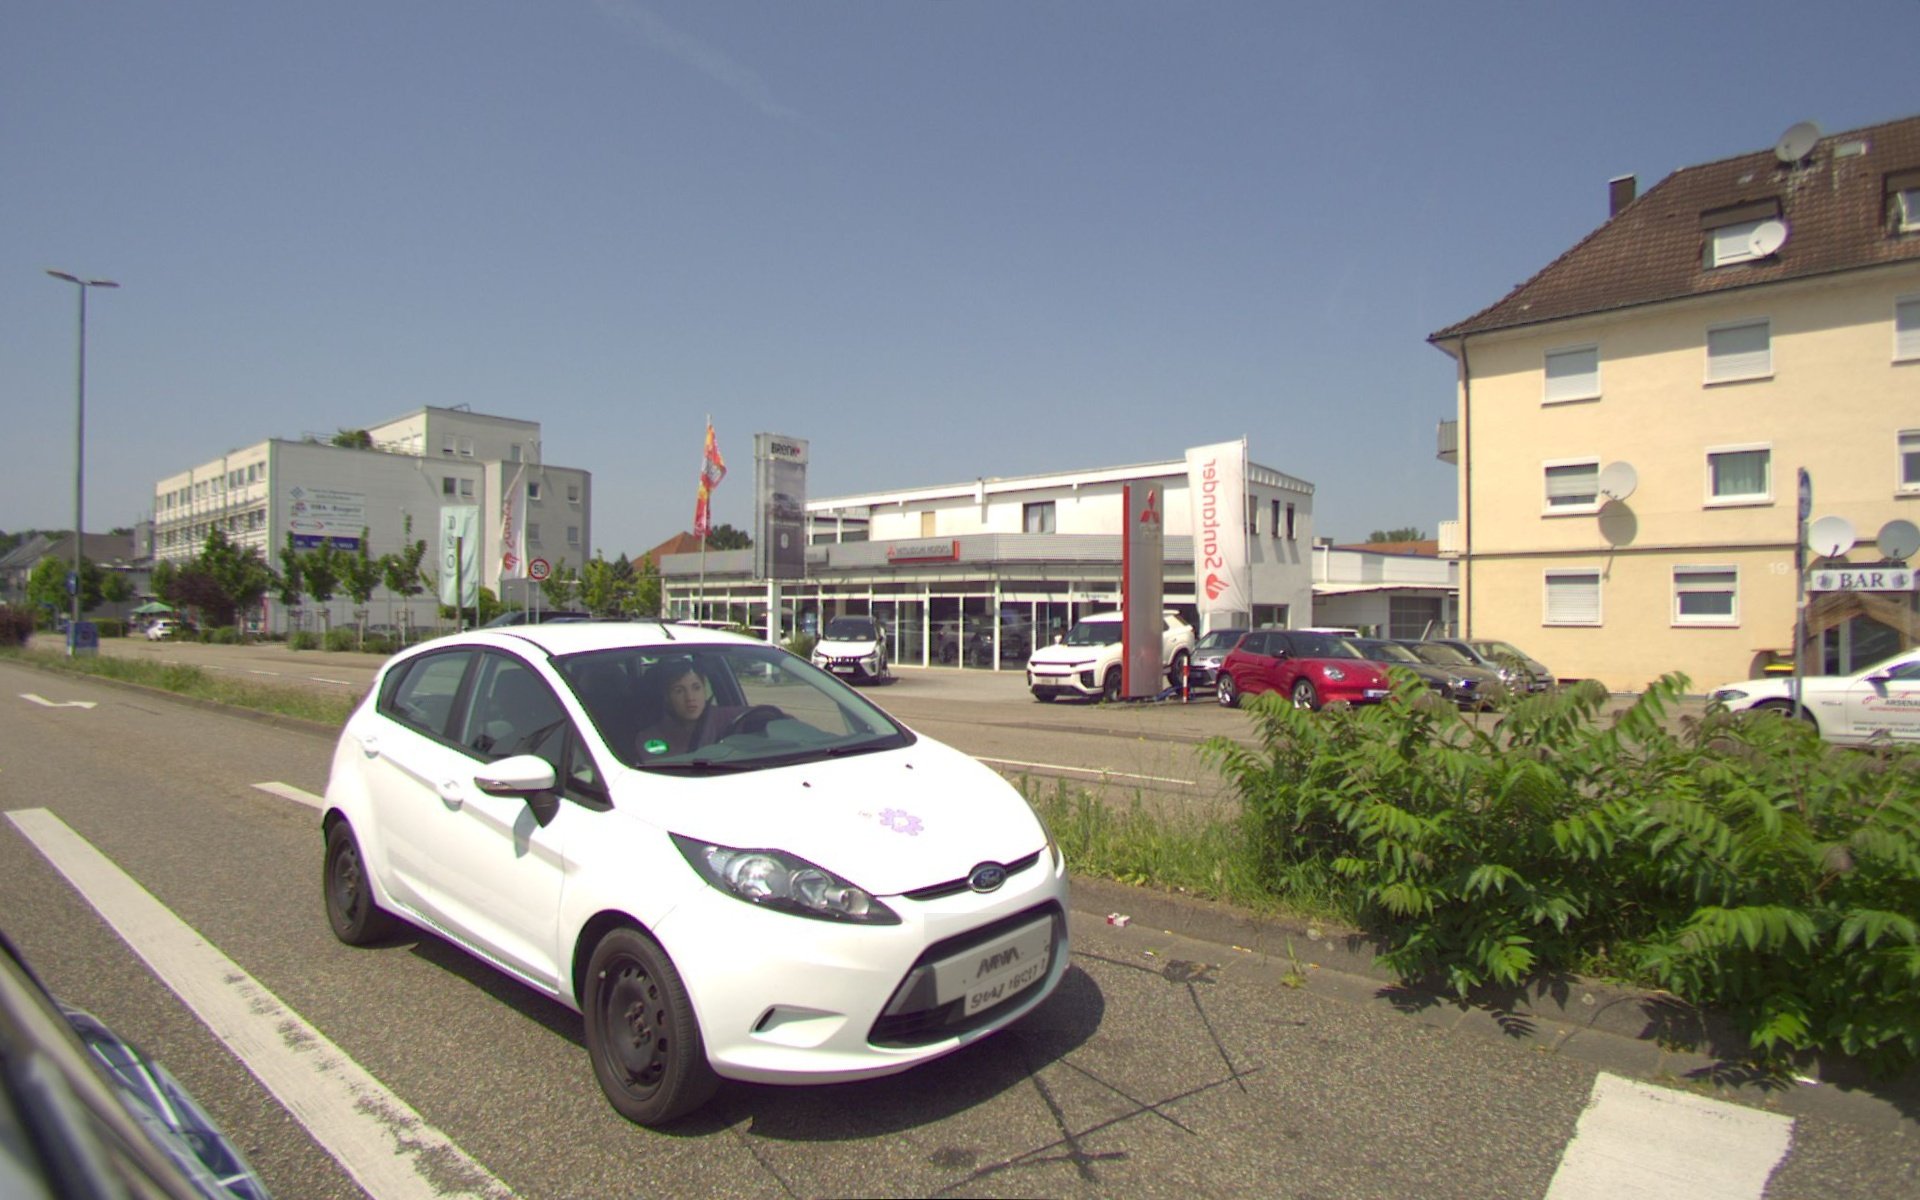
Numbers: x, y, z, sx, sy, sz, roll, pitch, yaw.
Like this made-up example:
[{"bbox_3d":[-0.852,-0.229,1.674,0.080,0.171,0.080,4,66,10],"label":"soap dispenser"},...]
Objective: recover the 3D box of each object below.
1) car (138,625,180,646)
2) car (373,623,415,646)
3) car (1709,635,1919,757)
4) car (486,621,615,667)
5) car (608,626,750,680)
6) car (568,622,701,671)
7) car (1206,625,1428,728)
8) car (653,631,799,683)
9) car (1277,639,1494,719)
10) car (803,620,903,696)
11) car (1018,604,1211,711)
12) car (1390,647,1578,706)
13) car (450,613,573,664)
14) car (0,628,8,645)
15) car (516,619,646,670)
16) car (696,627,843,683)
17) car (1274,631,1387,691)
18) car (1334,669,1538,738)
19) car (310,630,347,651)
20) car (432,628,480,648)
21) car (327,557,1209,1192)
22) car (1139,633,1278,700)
[{"bbox_3d":[-57.407,2.542,72.557,3.662,1.460,1.674,-1,-1,40],"label":"car"},{"bbox_3d":[-38.597,2.326,69.007,3.556,1.530,1.536,-1,-2,44],"label":"car"},{"bbox_3d":[12.186,1.155,12.360,4.756,1.421,1.757,-1,-2,41],"label":"car"},{"bbox_3d":[-15.350,1.659,38.082,2.087,1.621,3.947,-1,-3,39],"label":"car"},{"bbox_3d":[-8.903,1.645,32.290,1.925,1.621,3.943,-1,-2,43],"label":"car"},{"bbox_3d":[-10.952,1.547,34.225,1.758,1.580,3.947,-1,-2,39],"label":"car"},{"bbox_3d":[6.386,1.304,18.661,1.809,1.655,4.189,1,-2,-14],"label":"car"},{"bbox_3d":[-6.907,1.643,30.164,1.858,1.405,3.947,-1,-2,39],"label":"car"},{"bbox_3d":[8.632,1.550,20.905,1.622,1.437,4.013,1,-2,-28],"label":"car"},{"bbox_3d":[-2.765,1.468,26.998,1.739,1.636,3.991,1,2,8],"label":"car"},{"bbox_3d":[3.386,1.106,21.482,1.760,1.722,4.497,-1,3,43],"label":"car"},{"bbox_3d":[12.804,1.834,25.014,1.622,1.261,4.013,1,-2,-23],"label":"car"},{"bbox_3d":[-17.651,1.500,39.933,1.998,1.896,3.947,-1,-2,39],"label":"car"},{"bbox_3d":[-85.566,3.188,89.215,4.708,1.472,1.809,-1,-2,40],"label":"car"},{"bbox_3d":[-13.451,1.609,36.109,1.758,1.621,3.947,-1,-5,39],"label":"car"},{"bbox_3d":[-5.376,1.520,28.947,1.758,1.478,3.947,-1,-2,39],"label":"car"},{"bbox_3d":[10.987,1.731,29.868,1.864,1.627,3.946,-1,-2,40],"label":"car"},{"bbox_3d":[10.677,2.282,22.991,1.622,1.261,4.013,1,-2,-28],"label":"car"},{"bbox_3d":[-42.261,2.667,67.669,2.833,1.350,1.436,-1,-2,44],"label":"car"},{"bbox_3d":[-36.261,2.743,72.805,3.834,1.394,1.898,-1,-3,44],"label":"car"},{"bbox_3d":[-1.054,0.672,4.186,3.710,1.445,1.671,-1,-2,42],"label":"car"},{"bbox_3d":[6.339,1.612,25.573,1.864,1.542,3.946,-1,-2,40],"label":"car"}]
